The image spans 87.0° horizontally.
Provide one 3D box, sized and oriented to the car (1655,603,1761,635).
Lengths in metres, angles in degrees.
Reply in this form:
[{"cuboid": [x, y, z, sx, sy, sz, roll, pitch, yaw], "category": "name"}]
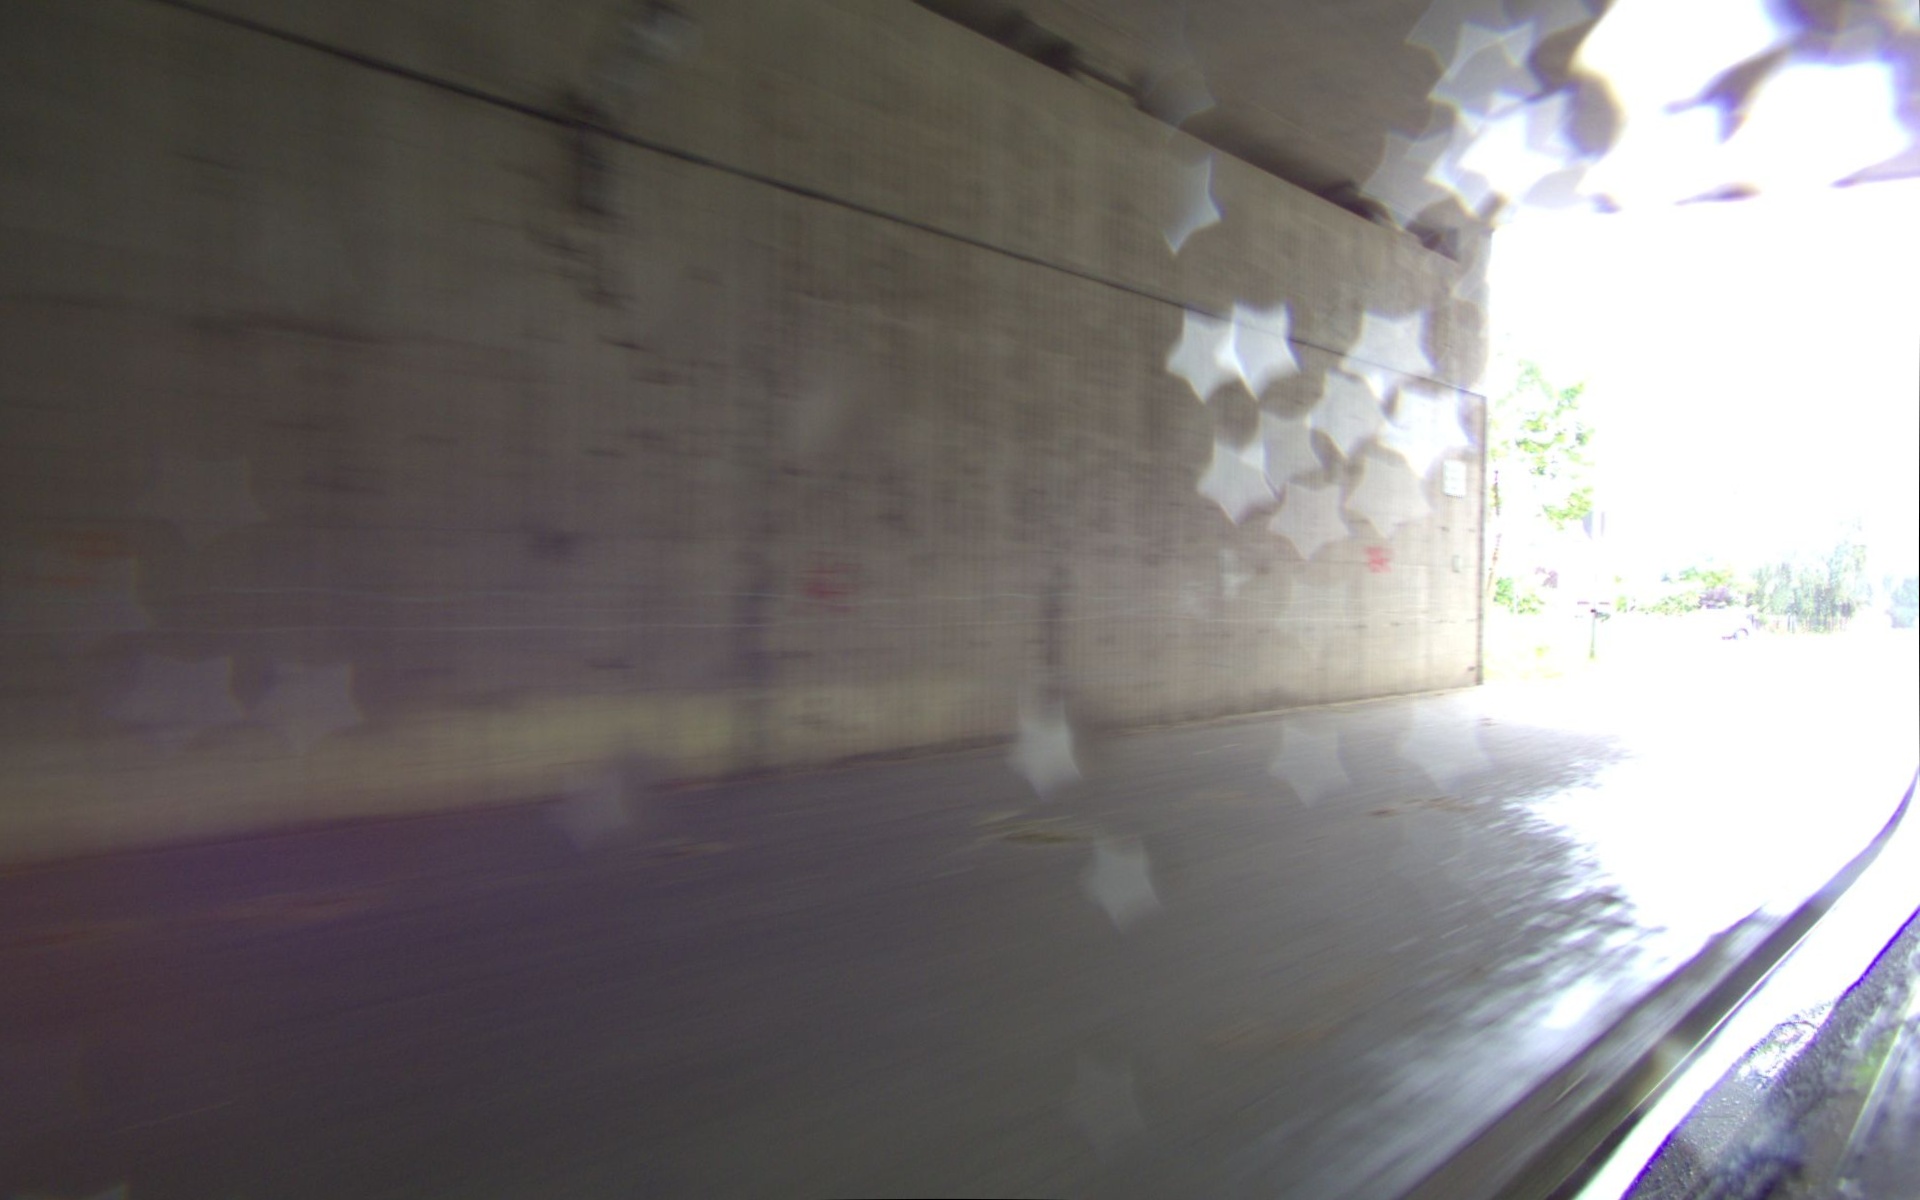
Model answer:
[{"cuboid": [36.981, 0.926, 50.150, 3.801, 1.551, 1.711, 0, -1, 16], "category": "car"}]
